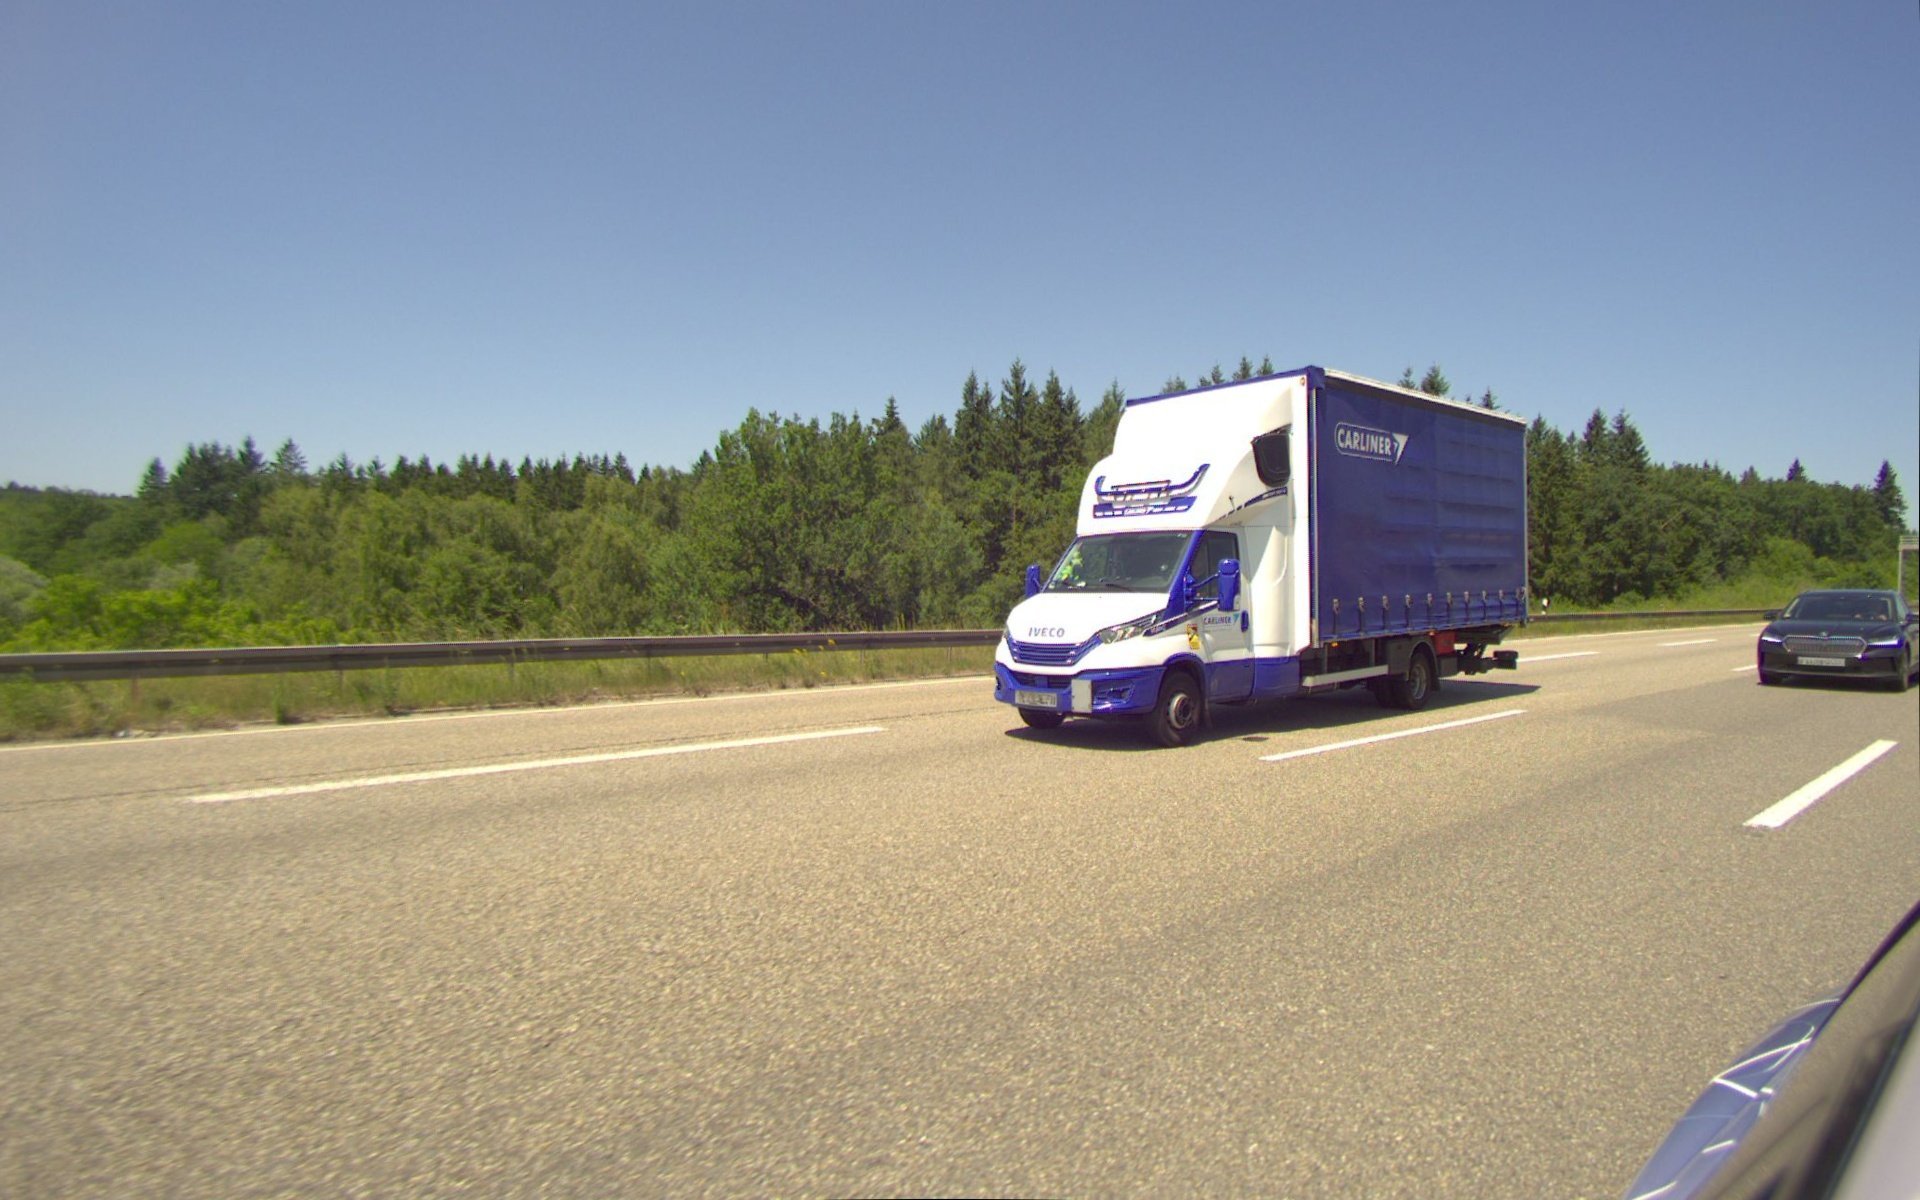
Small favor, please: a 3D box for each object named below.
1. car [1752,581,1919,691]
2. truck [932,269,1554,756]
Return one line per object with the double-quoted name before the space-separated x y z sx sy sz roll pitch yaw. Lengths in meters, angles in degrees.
"car" 15.334 0.510 17.308 4.379 1.639 1.988 0 0 -40
"truck" 4.229 -0.812 12.883 9.569 4.180 2.788 -1 0 -41
